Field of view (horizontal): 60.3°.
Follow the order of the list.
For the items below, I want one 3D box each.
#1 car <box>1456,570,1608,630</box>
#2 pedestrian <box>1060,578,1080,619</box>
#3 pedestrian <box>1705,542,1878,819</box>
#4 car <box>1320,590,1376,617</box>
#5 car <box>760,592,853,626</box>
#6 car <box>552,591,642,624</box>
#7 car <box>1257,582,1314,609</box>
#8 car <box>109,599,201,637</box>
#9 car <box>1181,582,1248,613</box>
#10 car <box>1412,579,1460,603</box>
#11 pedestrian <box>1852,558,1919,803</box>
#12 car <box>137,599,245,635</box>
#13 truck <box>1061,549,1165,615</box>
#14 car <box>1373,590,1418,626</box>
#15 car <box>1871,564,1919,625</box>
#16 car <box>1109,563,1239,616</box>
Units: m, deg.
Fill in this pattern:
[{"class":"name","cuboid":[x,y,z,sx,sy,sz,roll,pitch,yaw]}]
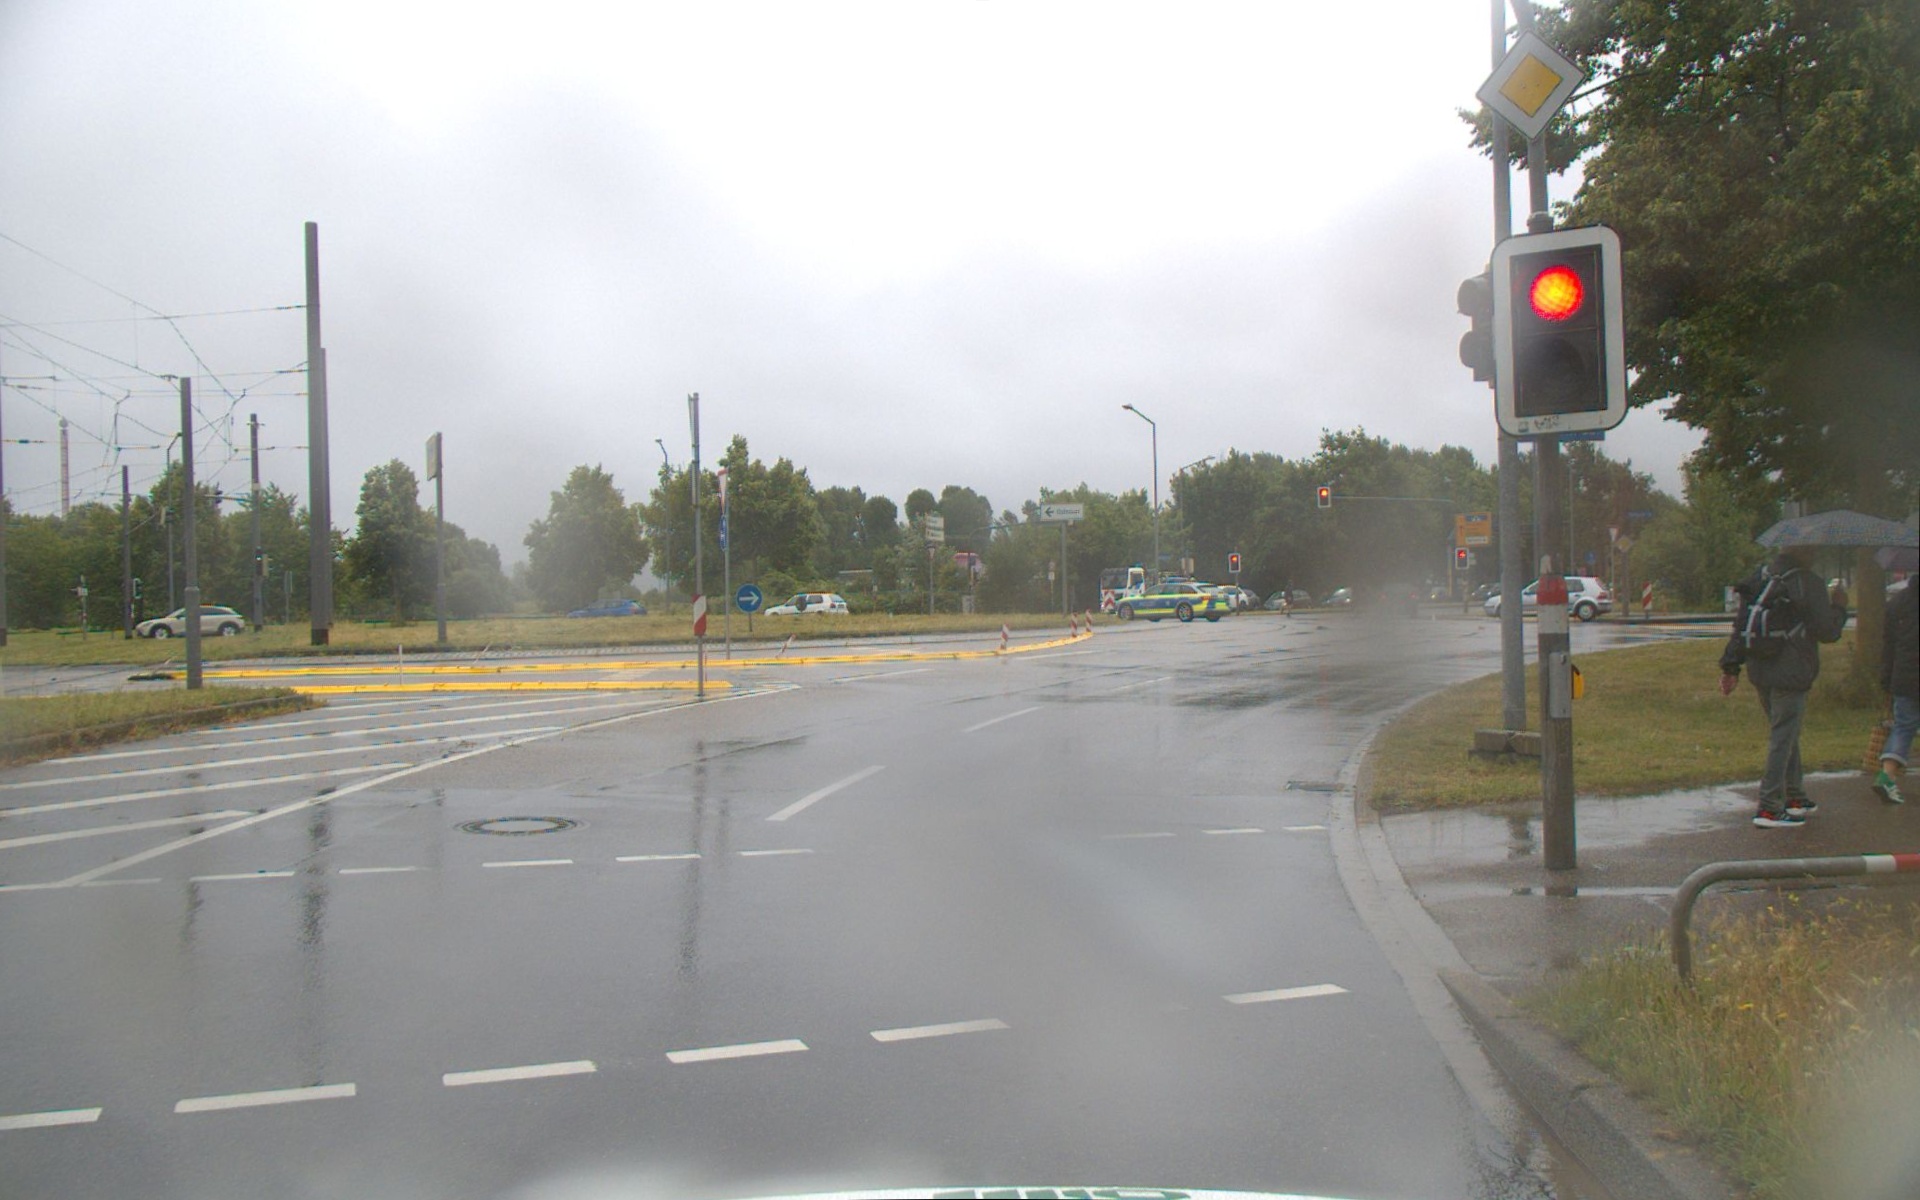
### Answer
[{"class":"car","cuboid":[19.027,0.007,55.017,4.664,1.884,1.999,1,-1,23]},{"class":"pedestrian","cuboid":[3.618,-0.056,54.403,0.445,1.327,0.484,-1,0,38]},{"class":"pedestrian","cuboid":[4.828,0.451,9.642,0.608,1.549,0.741,1,0,-2]},{"class":"car","cuboid":[25.390,0.226,108.177,1.769,1.691,4.386,0,-1,40]},{"class":"car","cuboid":[-7.020,0.392,75.744,3.891,1.479,1.624,-1,0,18]},{"class":"car","cuboid":[-17.245,0.371,78.699,3.892,1.479,1.624,-1,0,1]},{"class":"car","cuboid":[21.423,-0.318,108.690,1.769,1.691,4.386,-1,0,40]},{"class":"car","cuboid":[-40.855,0.929,84.025,1.644,1.848,3.994,1,-1,28]},{"class":"car","cuboid":[14.613,-0.135,94.806,1.769,1.691,4.386,0,-1,40]},{"class":"car","cuboid":[34.527,-0.680,119.935,1.769,1.691,4.386,-1,0,40]},{"class":"pedestrian","cuboid":[6.129,0.482,10.393,0.667,1.486,0.573,-2,-1,-5]},{"class":"car","cuboid":[-33.733,0.718,72.586,4.067,1.479,1.603,-1,0,-36]},{"class":"truck","cuboid":[6.974,-0.740,74.319,2.411,2.733,8.058,1,-1,22]},{"class":"car","cuboid":[18.779,0.323,71.421,1.583,1.479,3.991,-1,0,11]},{"class":"car","cuboid":[31.710,-0.128,52.326,4.659,1.884,2.001,1,-1,7]},{"class":"car","cuboid":[8.037,-0.377,62.355,1.984,1.883,4.700,-1,0,-43]}]
